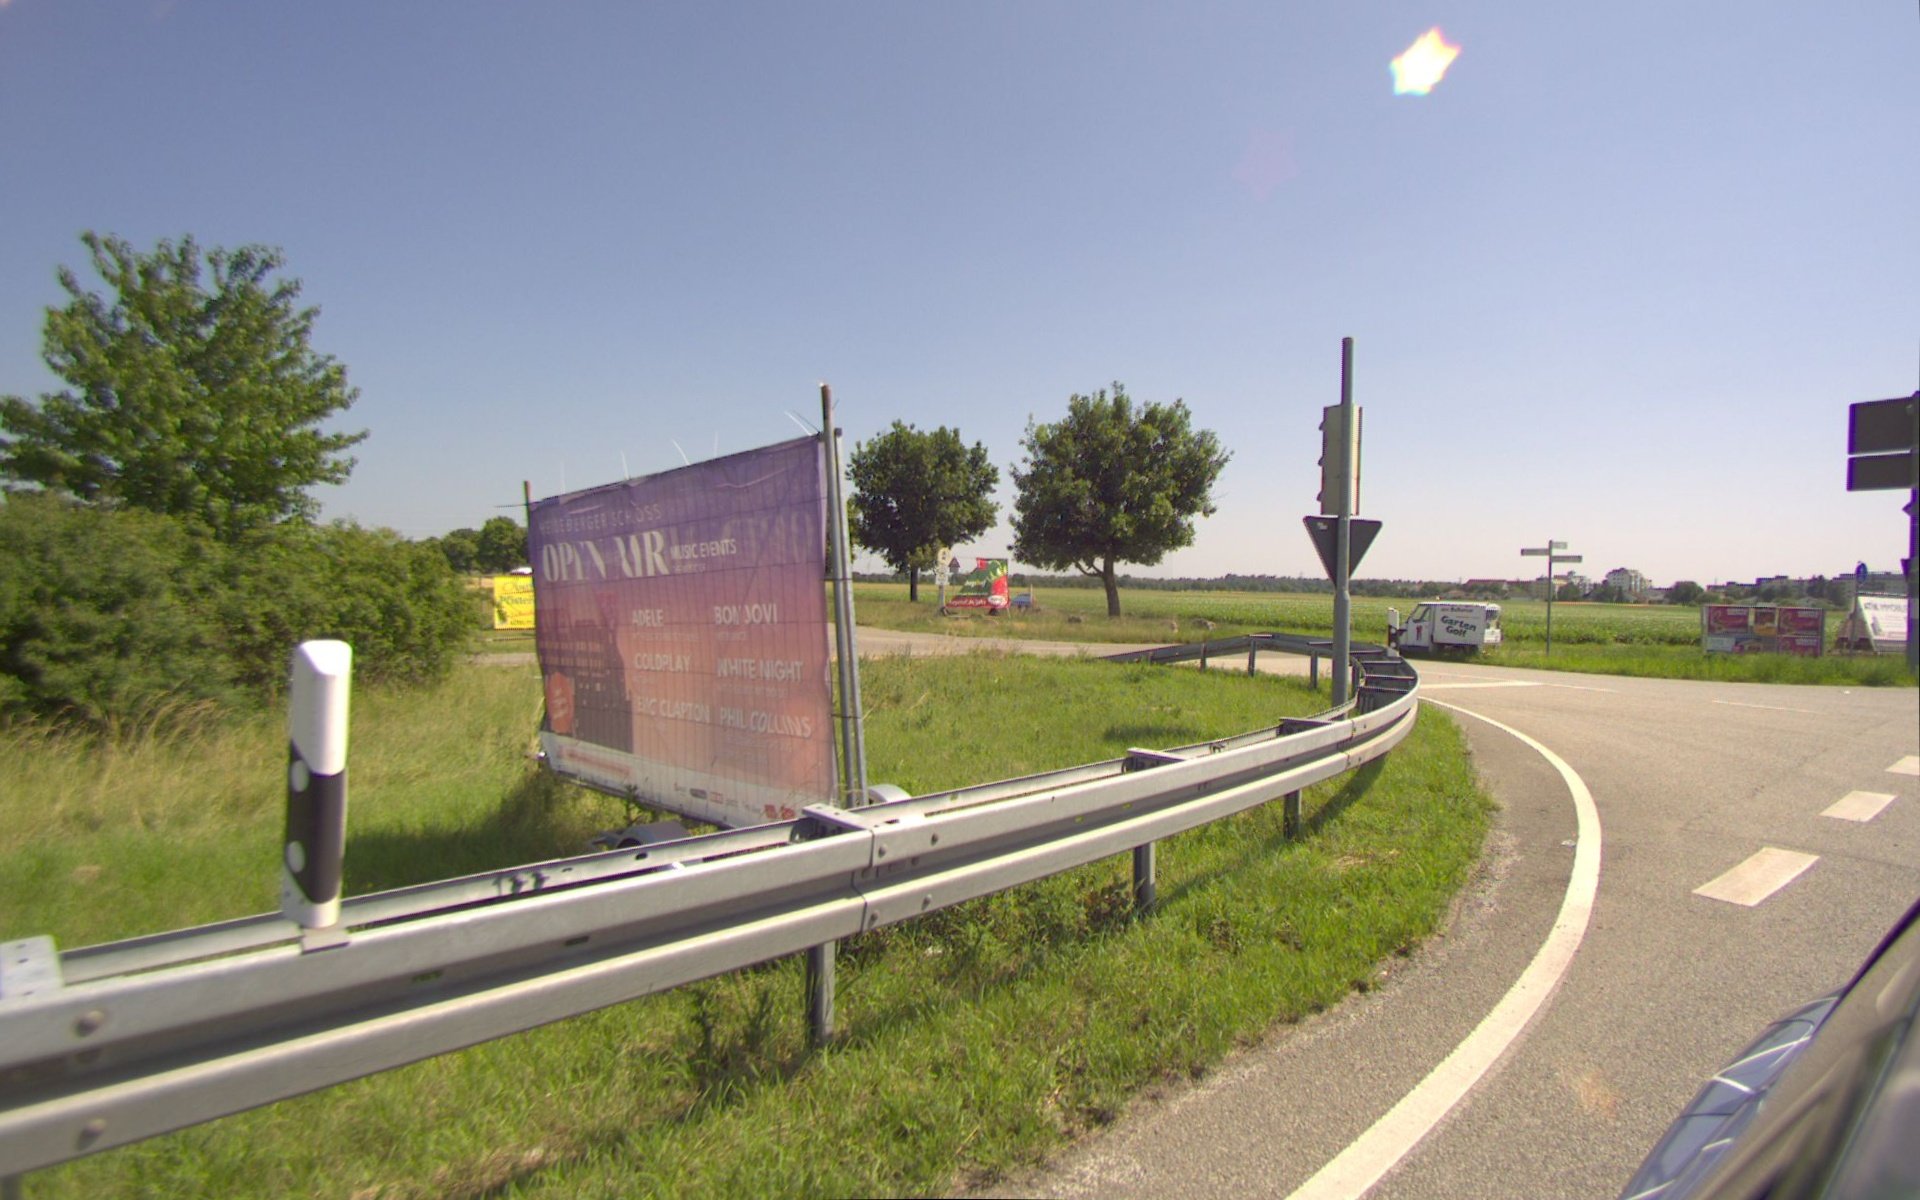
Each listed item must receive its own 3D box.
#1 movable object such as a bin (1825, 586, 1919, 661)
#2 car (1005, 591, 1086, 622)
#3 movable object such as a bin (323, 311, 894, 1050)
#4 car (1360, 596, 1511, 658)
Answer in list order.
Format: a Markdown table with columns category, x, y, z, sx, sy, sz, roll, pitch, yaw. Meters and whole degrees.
| category | x | y | z | sx | sy | sz | roll | pitch | yaw |
| --- | --- | --- | --- | --- | --- | --- | --- | --- | --- |
| movable object such as a bin | 31.004 | 0.746 | 33.592 | 4.331 | 2.393 | 1.529 | 0 | -1 | -20 |
| car | 4.336 | 0.330 | 51.255 | 3.808 | 1.546 | 1.762 | 1 | 0 | -34 |
| movable object such as a bin | -2.109 | 0.265 | 5.186 | 1.256 | 2.361 | 4.098 | 0 | -1 | -42 |
| car | 12.500 | 0.666 | 26.703 | 1.378 | 1.518 | 3.338 | 1 | 0 | -44 |
